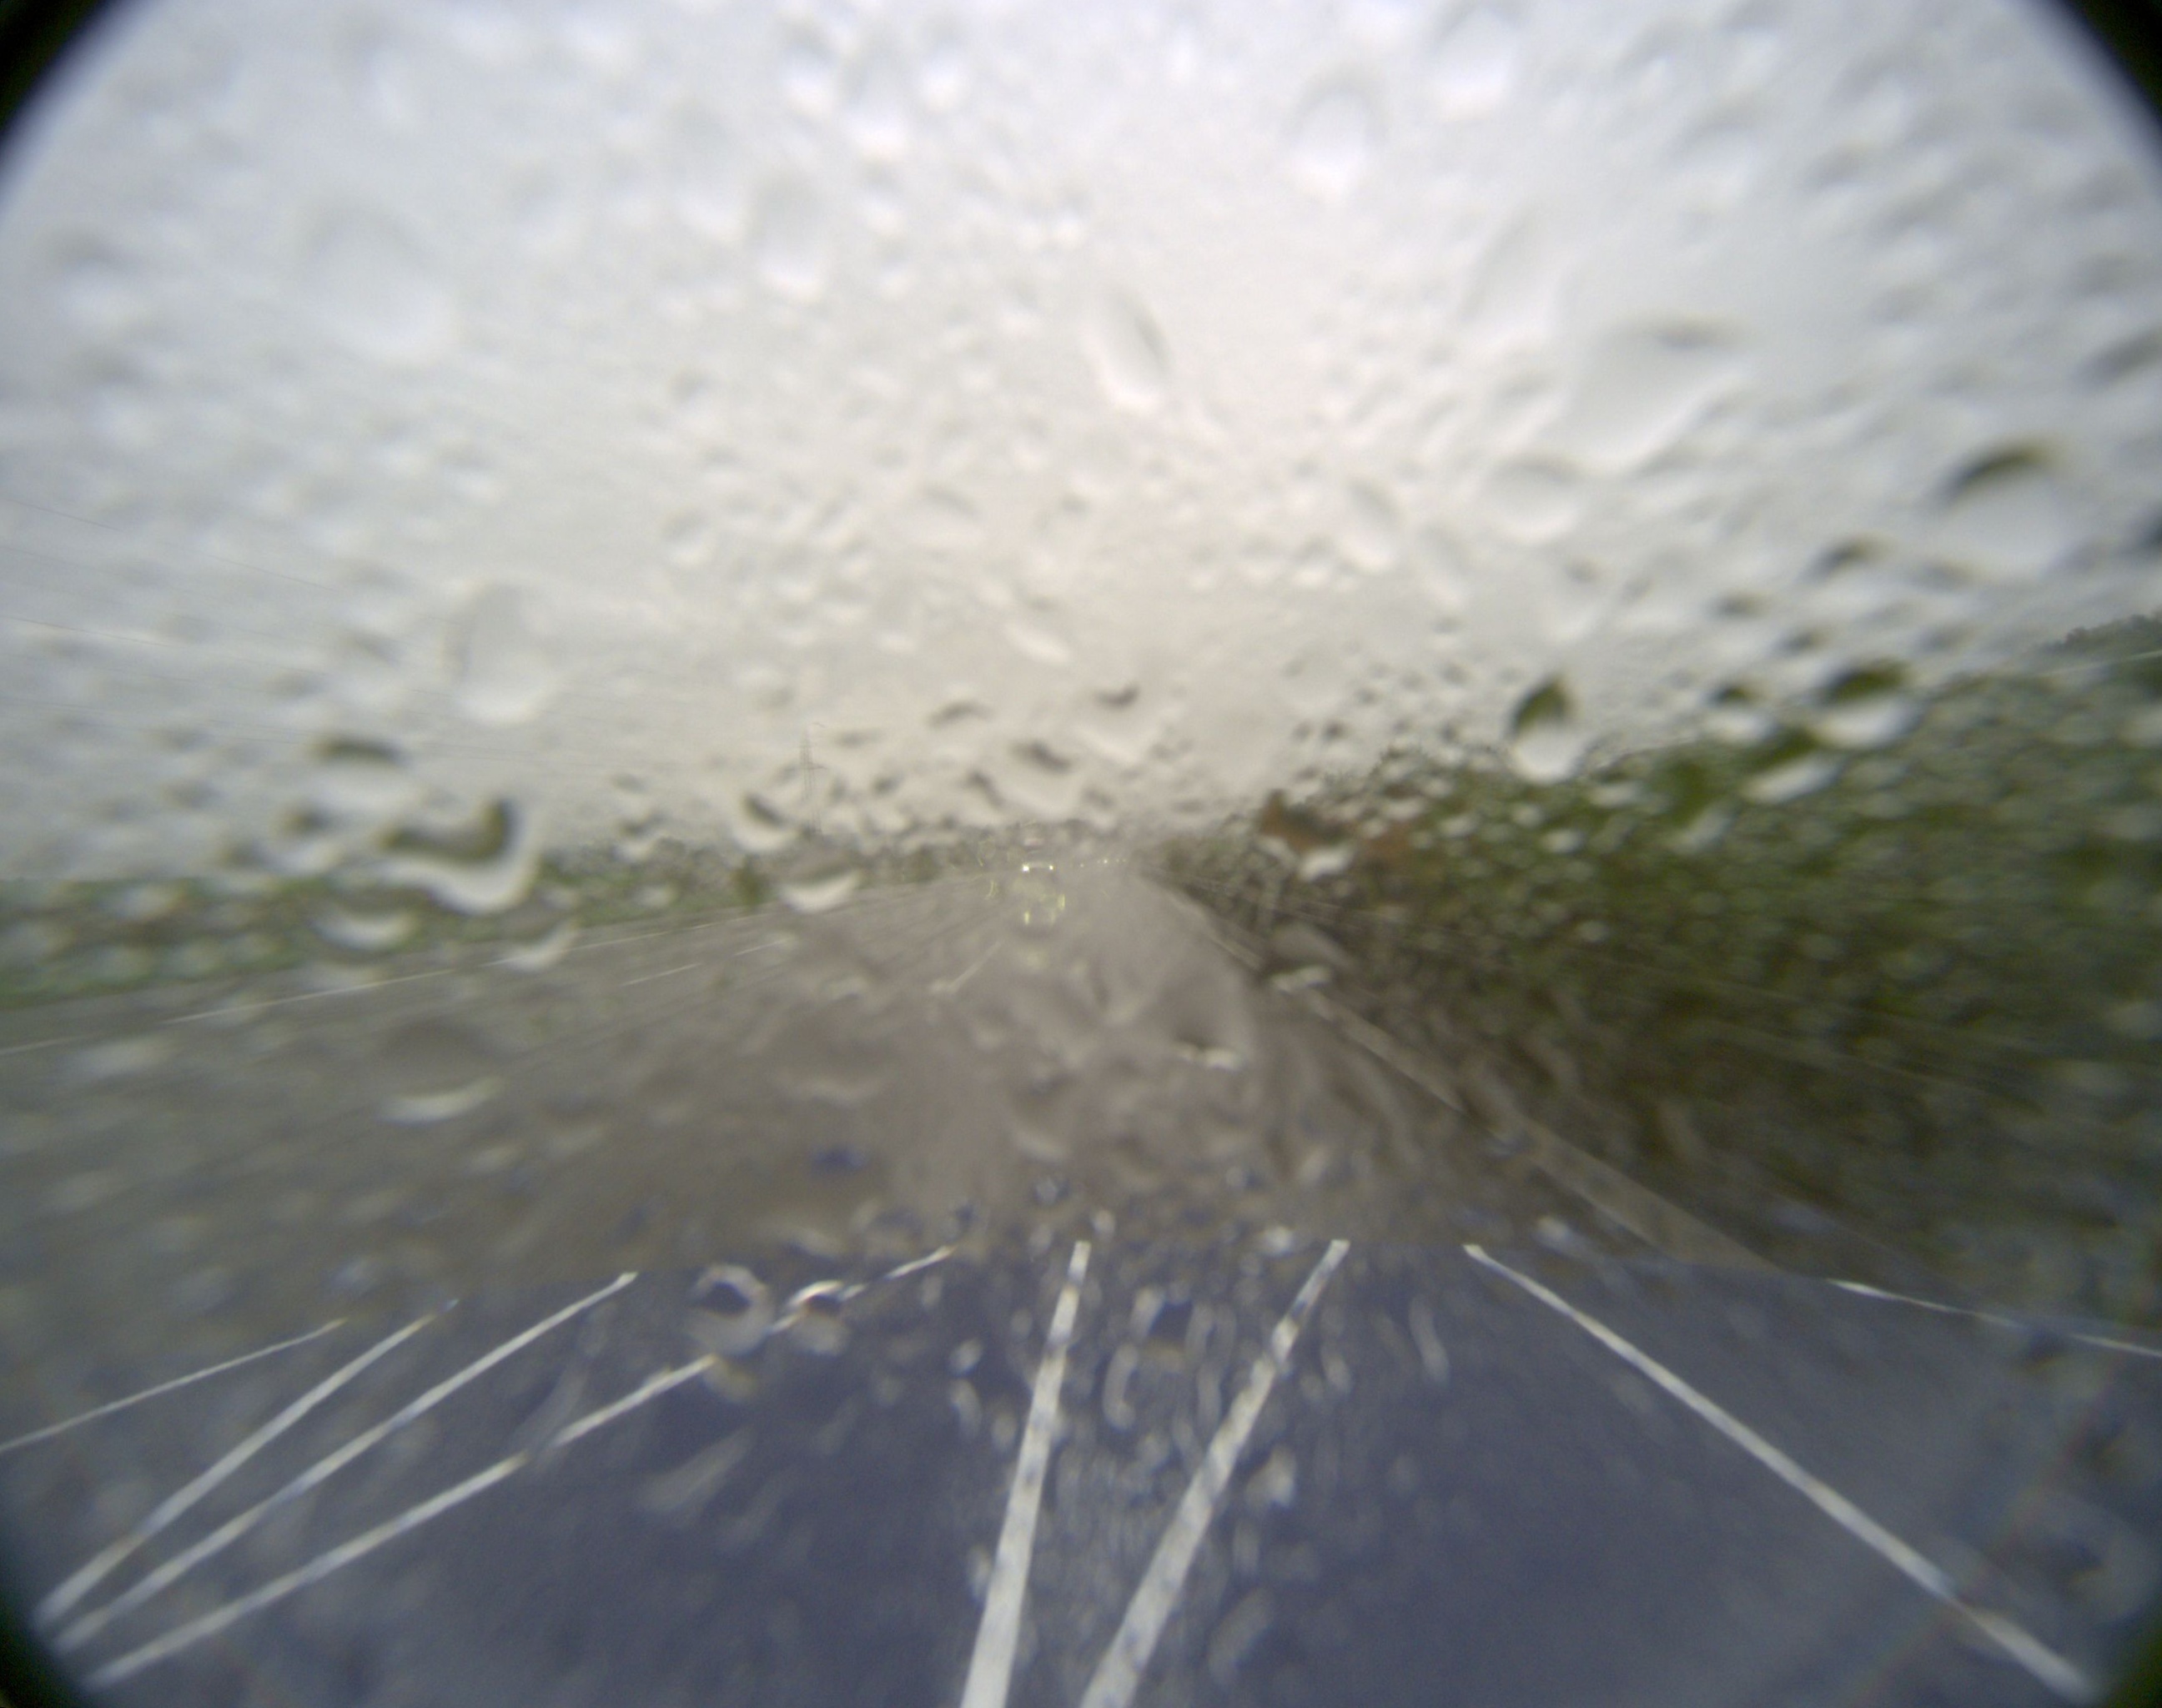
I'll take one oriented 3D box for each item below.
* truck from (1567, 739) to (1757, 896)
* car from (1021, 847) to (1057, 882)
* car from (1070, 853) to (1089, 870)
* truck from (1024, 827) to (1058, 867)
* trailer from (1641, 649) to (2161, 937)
[{"bbox_3d":[17.160,-1.003,22.778,2.534,4.203,4.077,-2,1,0],"label":"truck"},{"bbox_3d":[-2.553,0.629,47.004,1.999,2.002,3.999,-3,0,-2],"label":"car"},{"bbox_3d":[-0.158,0.949,97.018,1.998,2.002,4.001,-2,1,5],"label":"car"},{"bbox_3d":[-4.945,-0.876,95.711,3.135,4.642,11.404,-2,0,2],"label":"truck"},{"bbox_3d":[17.082,-0.953,15.020,2.524,4.196,12.942,-2,0,1],"label":"trailer"}]
